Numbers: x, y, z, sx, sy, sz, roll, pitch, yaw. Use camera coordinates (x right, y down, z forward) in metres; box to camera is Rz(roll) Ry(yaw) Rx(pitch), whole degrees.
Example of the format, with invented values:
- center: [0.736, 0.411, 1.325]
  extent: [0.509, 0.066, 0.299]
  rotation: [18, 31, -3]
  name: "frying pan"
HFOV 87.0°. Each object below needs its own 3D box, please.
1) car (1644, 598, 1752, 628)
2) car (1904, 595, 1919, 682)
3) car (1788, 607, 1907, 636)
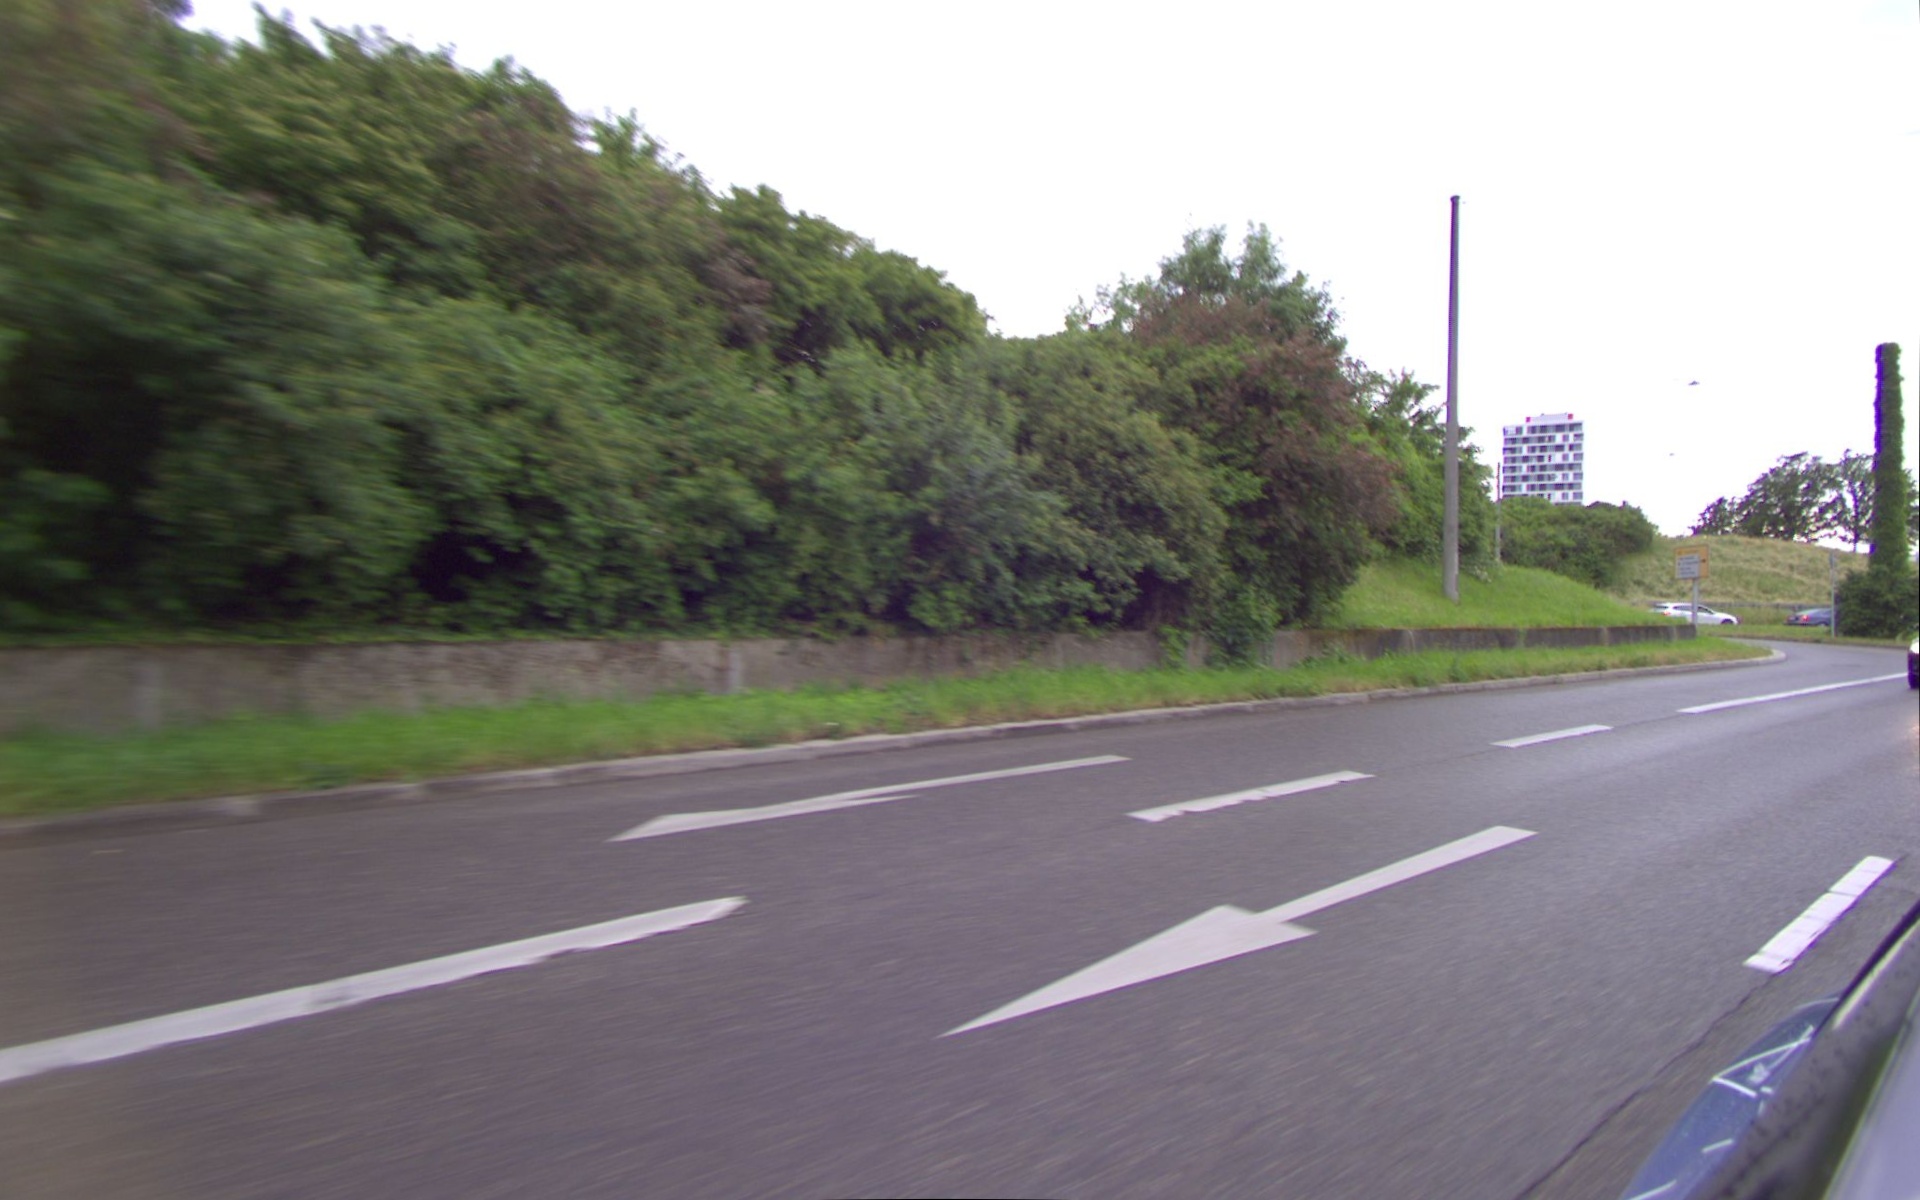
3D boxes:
- center: [39.897, 0.700, 54.802]
  extent: [4.195, 1.447, 2.072]
  rotation: [2, -1, 5]
  name: "car"
- center: [20.014, 0.727, 19.394]
  extent: [4.197, 1.621, 1.929]
  rotation: [0, 0, -34]
  name: "car"
- center: [47.282, 1.151, 53.981]
  extent: [4.476, 1.368, 1.839]
  rotation: [2, -1, 7]
  name: "car"
